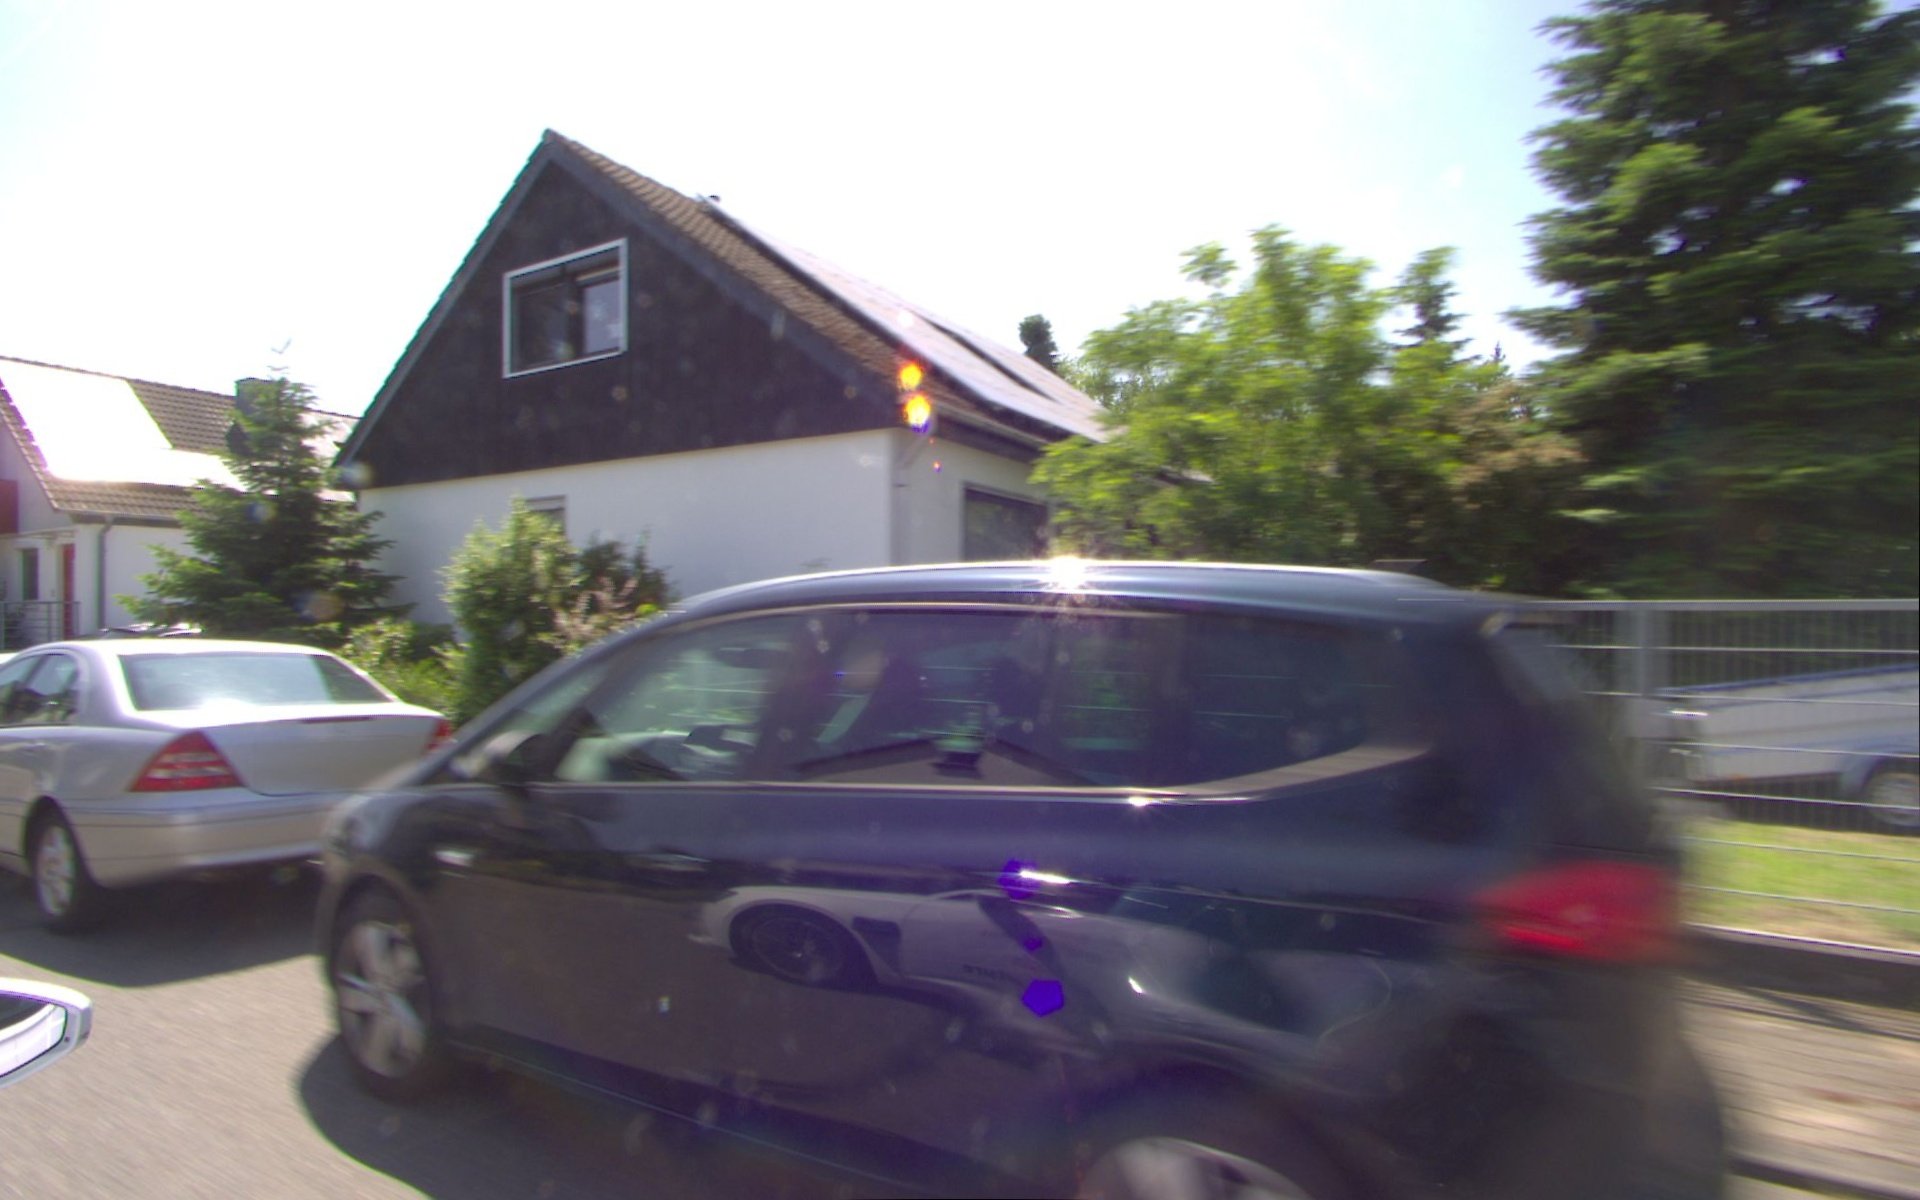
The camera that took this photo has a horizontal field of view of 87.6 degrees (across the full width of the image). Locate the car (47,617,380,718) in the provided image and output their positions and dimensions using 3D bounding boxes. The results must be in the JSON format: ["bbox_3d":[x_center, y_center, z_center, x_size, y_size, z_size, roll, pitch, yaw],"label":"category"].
[{"bbox_3d":[-12.770,1.083,17.422,1.970,1.505,4.235,0,-1,31],"label":"car"}]

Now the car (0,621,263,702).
[{"bbox_3d":[-16.623,1.141,19.586,1.924,1.414,4.529,0,-2,33],"label":"car"}]

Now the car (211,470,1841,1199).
[{"bbox_3d":[-0.327,0.706,3.342,4.615,1.683,1.960,0,-1,32],"label":"car"}]

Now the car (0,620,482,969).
[{"bbox_3d":[-4.974,0.868,6.125,4.274,1.479,1.684,0,-1,32],"label":"car"}]

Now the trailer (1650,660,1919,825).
[{"bbox_3d":[6.758,1.057,7.715,2.185,1.098,1.103,0,-1,24],"label":"trailer"}]
